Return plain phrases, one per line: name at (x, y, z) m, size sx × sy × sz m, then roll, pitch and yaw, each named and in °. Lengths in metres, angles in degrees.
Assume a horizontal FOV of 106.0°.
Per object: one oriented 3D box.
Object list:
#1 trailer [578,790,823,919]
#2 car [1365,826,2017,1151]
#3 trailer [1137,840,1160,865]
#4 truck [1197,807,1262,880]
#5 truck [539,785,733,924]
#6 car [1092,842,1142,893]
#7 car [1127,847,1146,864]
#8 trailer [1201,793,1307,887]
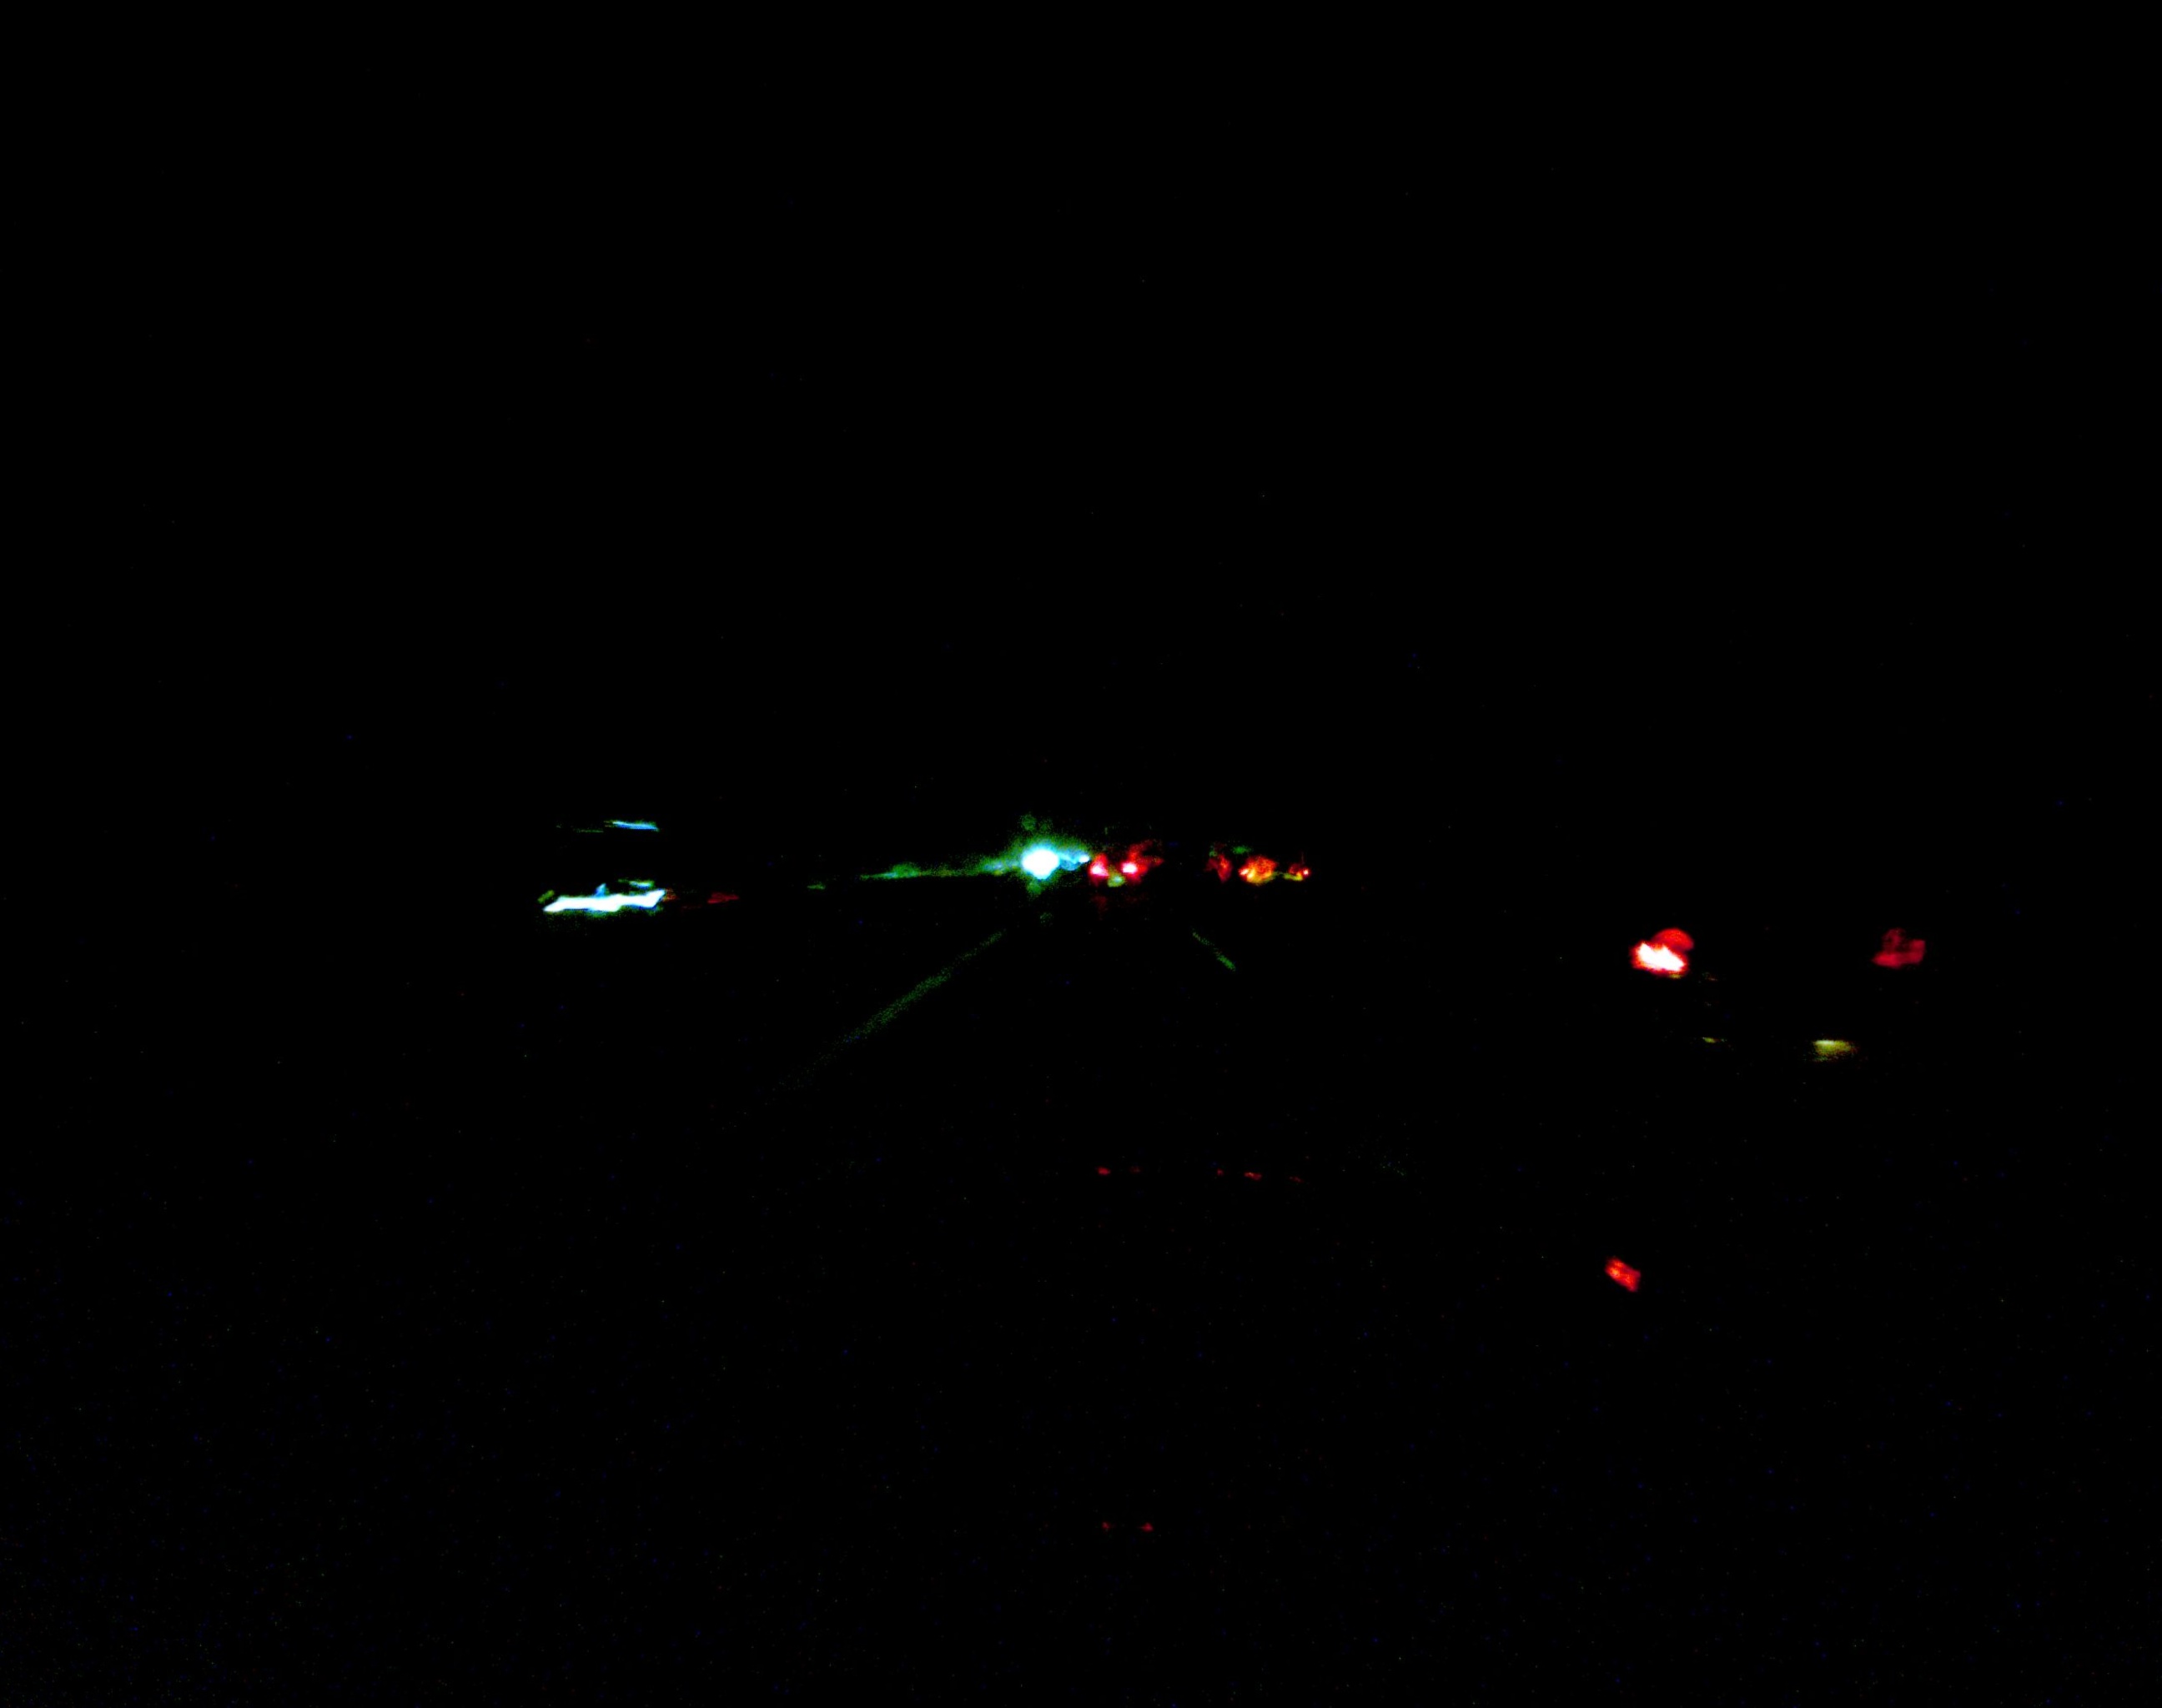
trailer at (-15.319, 0.052, 35.175) m, size 2.962 × 4.268 × 14.868 m, roll 3°, pitch 0°, yaw 2°
car at (3.806, 0.697, 6.297) m, size 1.734 × 1.575 × 4.495 m, roll -1°, pitch -1°, yaw 1°
trailer at (12.305, -0.234, 150.078) m, size 3.031 × 4.109 × 13.827 m, roll -3°, pitch -1°, yaw 0°
truck at (9.047, -0.597, 50.255) m, size 2.892 × 4.108 × 6.033 m, roll -3°, pitch -1°, yaw 2°
truck at (-15.501, 0.017, 29.079) m, size 2.962 × 4.268 × 6.507 m, roll 3°, pitch 0°, yaw 2°
car at (1.540, 0.582, 34.729) m, size 1.985 × 2.014 × 4.002 m, roll 1°, pitch -1°, yaw 3°
car at (7.334, 0.224, 107.592) m, size 1.988 × 2.014 × 3.997 m, roll -3°, pitch -1°, yaw -2°
trailer at (8.856, -0.569, 43.947) m, size 2.892 × 4.108 × 14.492 m, roll -3°, pitch 0°, yaw 2°
